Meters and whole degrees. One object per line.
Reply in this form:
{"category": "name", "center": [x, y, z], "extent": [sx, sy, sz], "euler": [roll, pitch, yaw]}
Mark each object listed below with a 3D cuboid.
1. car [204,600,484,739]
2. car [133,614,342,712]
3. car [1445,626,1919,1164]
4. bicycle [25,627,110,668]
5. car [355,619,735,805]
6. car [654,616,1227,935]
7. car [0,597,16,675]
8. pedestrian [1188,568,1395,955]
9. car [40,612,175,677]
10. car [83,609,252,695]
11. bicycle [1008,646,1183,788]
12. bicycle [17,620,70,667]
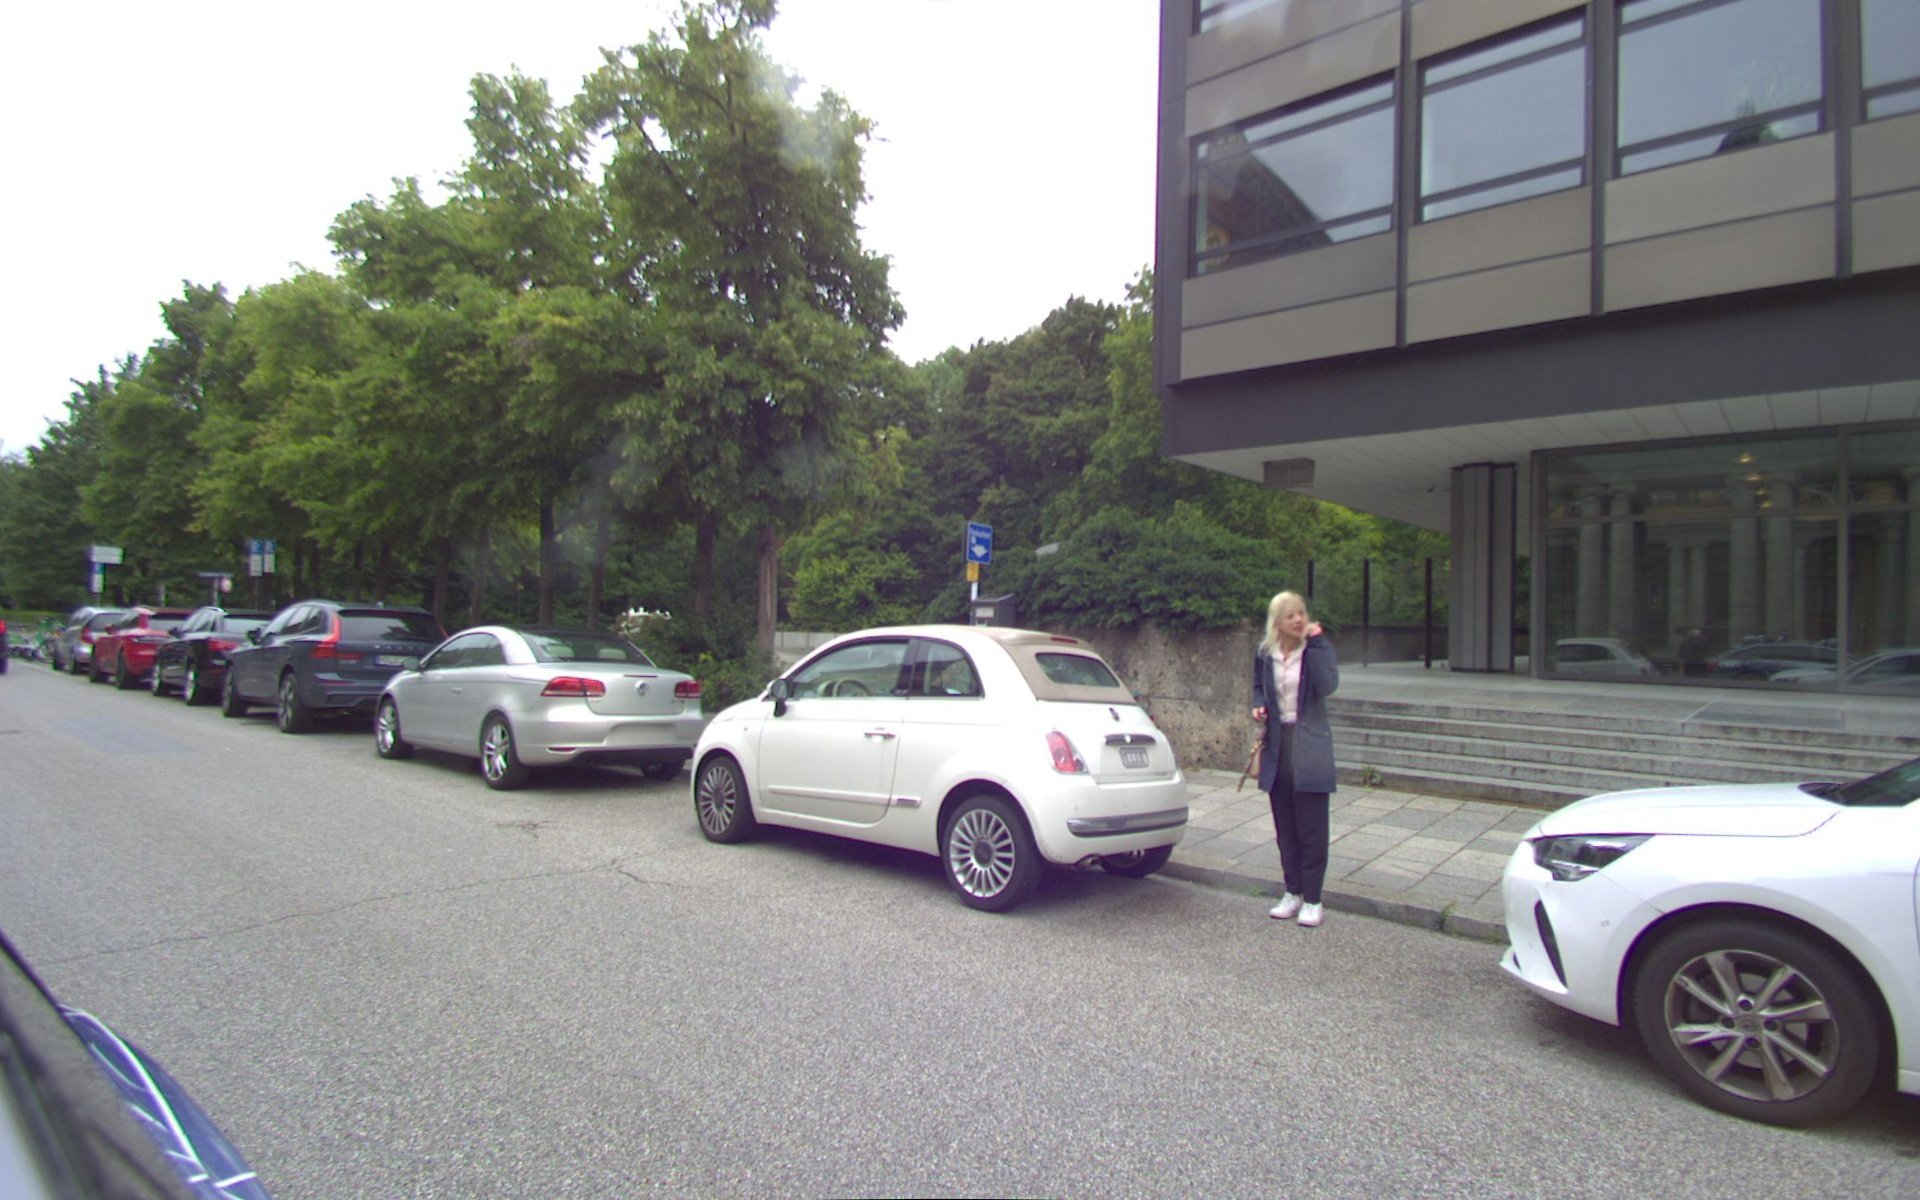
{"category": "car", "center": [-8.523, 0.855, 13.837], "extent": [4.520, 1.595, 1.973], "euler": [-1, -3, 41]}
{"category": "car", "center": [-12.581, 1.007, 17.507], "extent": [4.646, 1.472, 1.972], "euler": [-1, -3, 42]}
{"category": "car", "center": [3.873, 0.868, 2.795], "extent": [4.278, 1.451, 1.663], "euler": [0, -5, 42]}
{"category": "bicycle", "center": [-25.185, 1.313, 28.590], "extent": [0.597, 1.116, 1.681], "euler": [0, -1, 33]}
{"category": "car", "center": [-4.191, 0.962, 9.878], "extent": [4.217, 1.411, 1.739], "euler": [-1, -5, 43]}
{"category": "car", "center": [-0.282, 0.883, 6.501], "extent": [3.551, 1.482, 1.527], "euler": [-1, -4, 41]}
{"category": "car", "center": [-23.254, 0.743, 22.957], "extent": [4.906, 1.694, 1.941], "euler": [0, -4, 39]}
{"category": "pedestrian", "center": [1.722, 0.768, 5.214], "extent": [0.690, 1.765, 0.880], "euler": [-2, -5, 44]}
{"category": "car", "center": [-21.190, 1.069, 25.094], "extent": [4.363, 1.472, 1.972], "euler": [-1, -3, 42]}
{"category": "car", "center": [-16.186, 0.999, 20.599], "extent": [4.363, 1.555, 1.972], "euler": [-1, -3, 42]}
{"category": "bicycle", "center": [1.254, 1.048, 9.531], "extent": [1.526, 1.173, 0.636], "euler": [-1, 0, 40]}
{"category": "bicycle", "center": [-26.557, 1.237, 29.339], "extent": [0.566, 1.292, 1.423], "euler": [0, -1, -16]}
